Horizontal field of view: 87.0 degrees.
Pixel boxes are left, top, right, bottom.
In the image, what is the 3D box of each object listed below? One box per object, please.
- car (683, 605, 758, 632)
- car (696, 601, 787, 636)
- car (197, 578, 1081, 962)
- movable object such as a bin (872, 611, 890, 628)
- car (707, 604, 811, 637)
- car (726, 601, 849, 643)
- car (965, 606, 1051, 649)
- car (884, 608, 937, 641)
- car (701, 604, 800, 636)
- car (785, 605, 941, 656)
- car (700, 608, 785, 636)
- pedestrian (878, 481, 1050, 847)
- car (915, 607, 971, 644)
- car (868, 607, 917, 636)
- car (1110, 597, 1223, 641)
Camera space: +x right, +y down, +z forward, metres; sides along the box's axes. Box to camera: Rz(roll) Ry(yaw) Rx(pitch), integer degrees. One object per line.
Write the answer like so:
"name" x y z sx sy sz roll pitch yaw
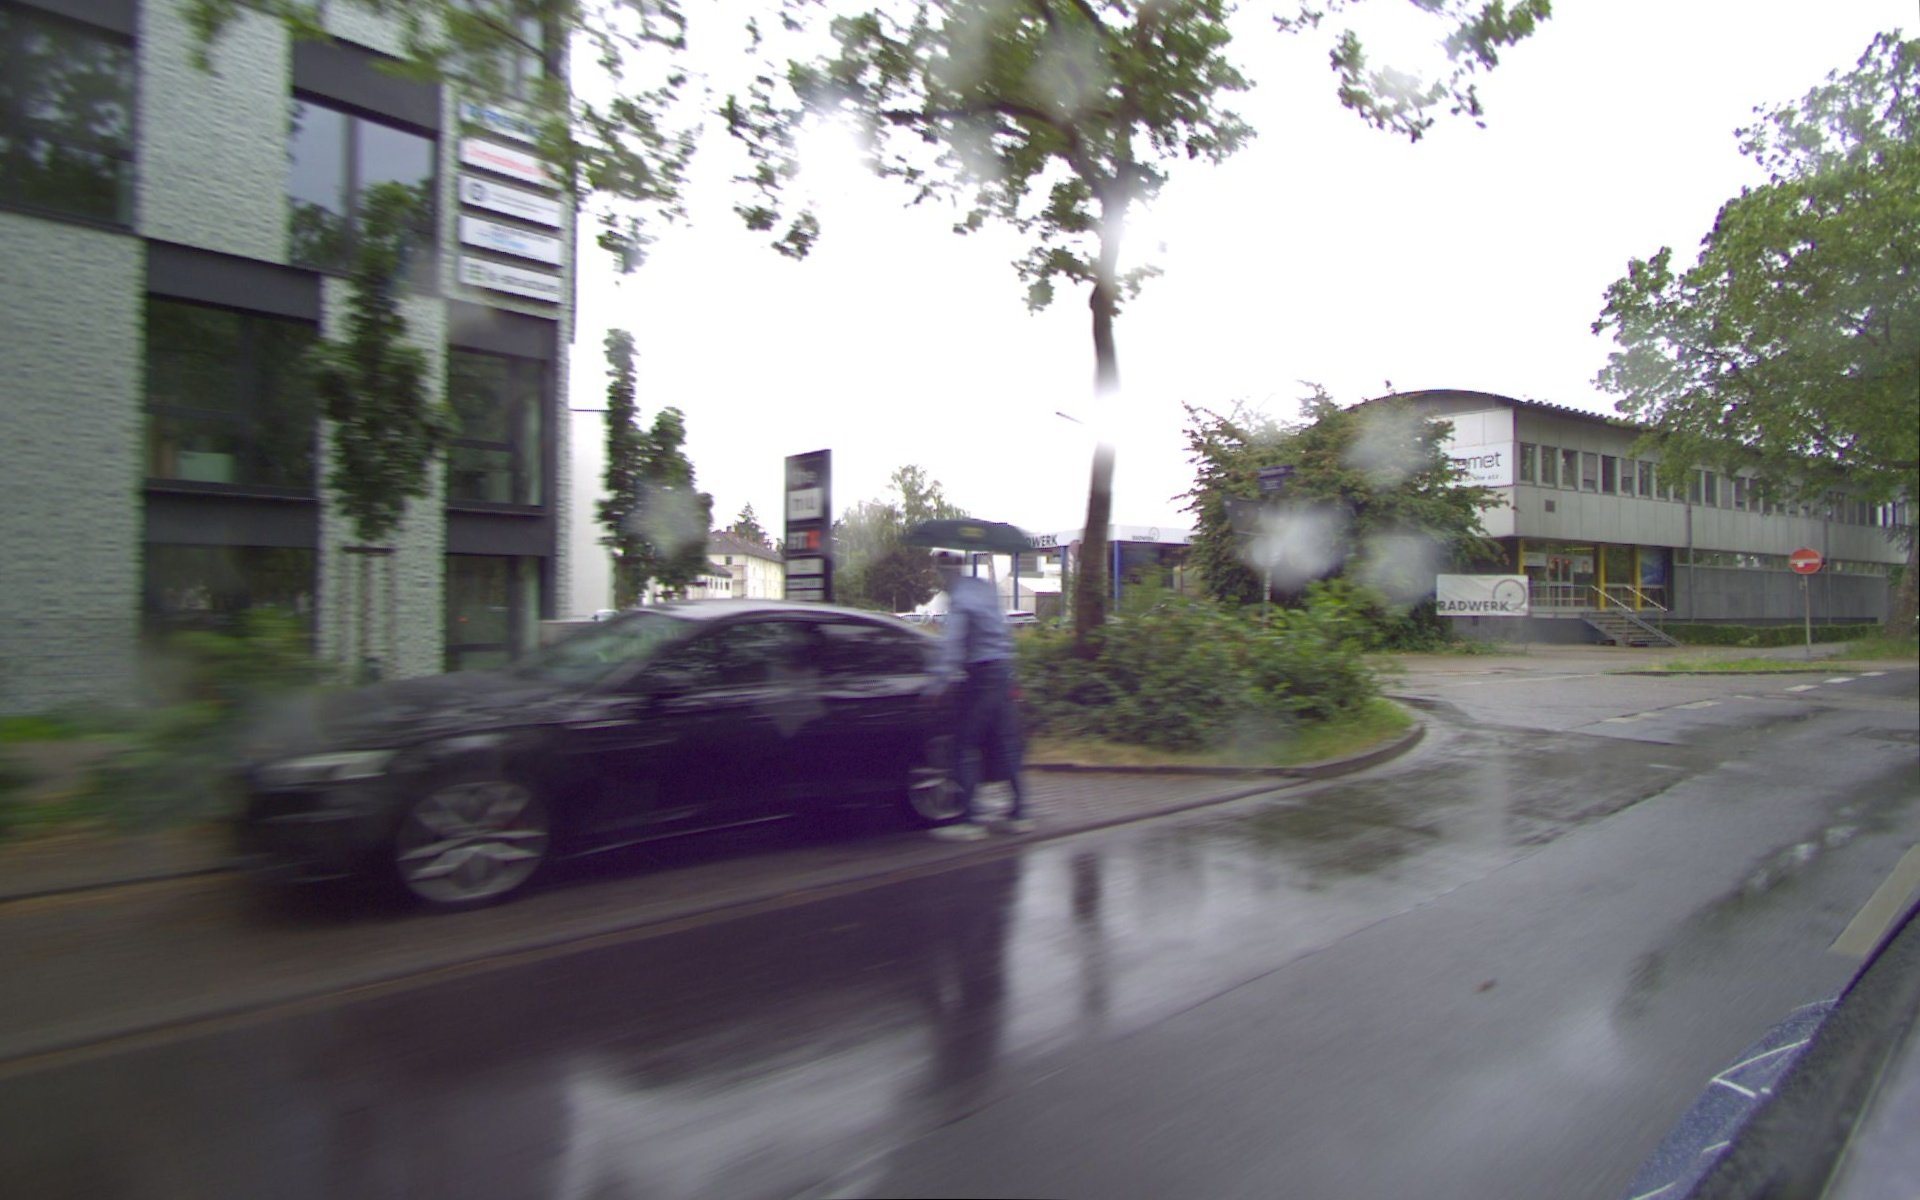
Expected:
"car" -15.971 1.218 67.483 4.630 1.750 1.897 1 -1 -22
"car" -12.036 0.995 55.800 4.630 1.869 1.897 1 -1 -22
"car" -1.586 0.648 6.104 4.772 1.446 1.748 0 2 -39
"movable object such as a bin" -6.225 1.500 80.058 1.269 1.315 1.577 0 0 -9
"car" -9.646 0.968 48.637 4.630 1.549 1.897 1 -1 -22
"car" -7.055 0.897 41.426 4.630 1.637 1.897 1 -1 -22
"car" 1.903 1.067 41.640 1.854 1.549 4.314 -3 1 -21
"car" -2.662 1.249 53.152 1.854 1.487 4.314 -3 1 -15
"car" -10.548 1.017 50.911 4.630 1.549 1.897 1 -1 -22
"car" -3.104 0.952 32.422 4.631 1.549 1.897 1 -1 -24
"car" -12.732 1.282 59.224 4.630 1.549 1.944 1 -1 -22
"pedestrian" 0.049 0.352 6.162 0.886 2.039 0.830 0 0 13
"car" -0.875 1.183 48.585 1.855 1.487 4.314 -3 1 -11
"car" -3.924 1.194 58.238 1.854 1.487 4.315 -3 1 -16
"car" 8.437 0.752 41.513 4.093 1.549 1.896 -3 1 -8
